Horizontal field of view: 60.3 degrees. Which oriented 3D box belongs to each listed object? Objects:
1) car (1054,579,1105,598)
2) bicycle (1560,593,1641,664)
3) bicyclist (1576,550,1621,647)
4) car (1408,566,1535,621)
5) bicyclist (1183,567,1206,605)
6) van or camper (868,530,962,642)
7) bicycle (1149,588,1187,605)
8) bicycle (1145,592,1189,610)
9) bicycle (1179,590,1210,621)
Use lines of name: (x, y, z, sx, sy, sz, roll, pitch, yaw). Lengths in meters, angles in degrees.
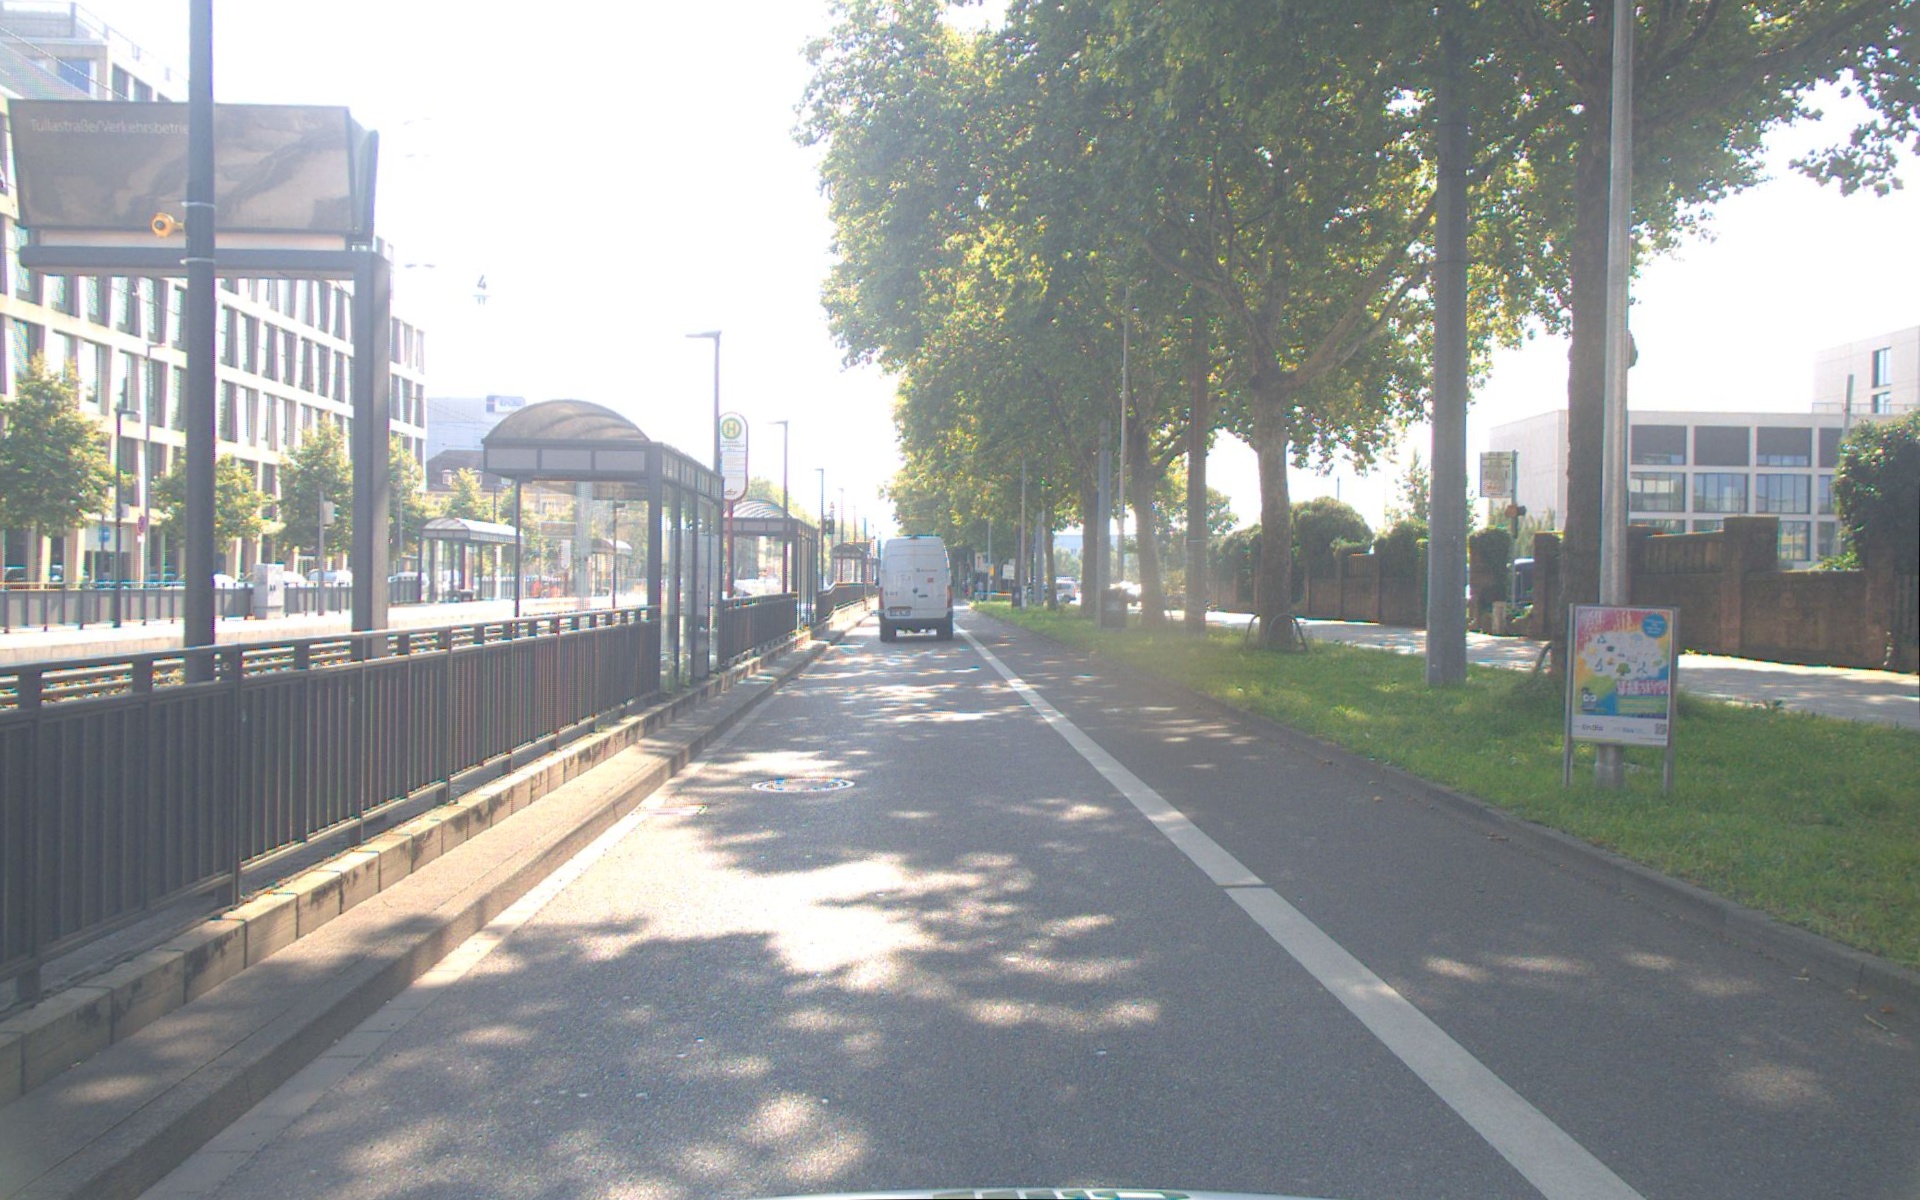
car: (9.747, -0.931, 135.021, 3.907, 1.400, 1.999, 2, 0, -2)
bicycle: (10.490, 0.445, 27.142, 0.481, 1.108, 1.856, 0, 1, -5)
bicyclist: (10.483, -0.027, 27.152, 0.460, 1.566, 0.596, 0, 1, -5)
car: (17.664, -0.234, 57.221, 3.923, 1.875, 1.560, 0, 1, -4)
bicyclist: (8.173, -0.490, 57.582, 0.656, 1.298, 0.728, -1, 1, -3)
van or camper: (-1.294, -0.385, 44.493, 2.074, 2.728, 5.245, -3, 1, -5)
bicycle: (10.672, -0.168, 84.829, 1.893, 0.861, 0.372, 0, 1, -2)
bicycle: (10.252, 0.058, 81.936, 2.136, 0.861, 0.503, -1, 1, -2)
bicycle: (8.146, 0.190, 57.505, 0.668, 1.022, 2.217, -1, 1, -3)
